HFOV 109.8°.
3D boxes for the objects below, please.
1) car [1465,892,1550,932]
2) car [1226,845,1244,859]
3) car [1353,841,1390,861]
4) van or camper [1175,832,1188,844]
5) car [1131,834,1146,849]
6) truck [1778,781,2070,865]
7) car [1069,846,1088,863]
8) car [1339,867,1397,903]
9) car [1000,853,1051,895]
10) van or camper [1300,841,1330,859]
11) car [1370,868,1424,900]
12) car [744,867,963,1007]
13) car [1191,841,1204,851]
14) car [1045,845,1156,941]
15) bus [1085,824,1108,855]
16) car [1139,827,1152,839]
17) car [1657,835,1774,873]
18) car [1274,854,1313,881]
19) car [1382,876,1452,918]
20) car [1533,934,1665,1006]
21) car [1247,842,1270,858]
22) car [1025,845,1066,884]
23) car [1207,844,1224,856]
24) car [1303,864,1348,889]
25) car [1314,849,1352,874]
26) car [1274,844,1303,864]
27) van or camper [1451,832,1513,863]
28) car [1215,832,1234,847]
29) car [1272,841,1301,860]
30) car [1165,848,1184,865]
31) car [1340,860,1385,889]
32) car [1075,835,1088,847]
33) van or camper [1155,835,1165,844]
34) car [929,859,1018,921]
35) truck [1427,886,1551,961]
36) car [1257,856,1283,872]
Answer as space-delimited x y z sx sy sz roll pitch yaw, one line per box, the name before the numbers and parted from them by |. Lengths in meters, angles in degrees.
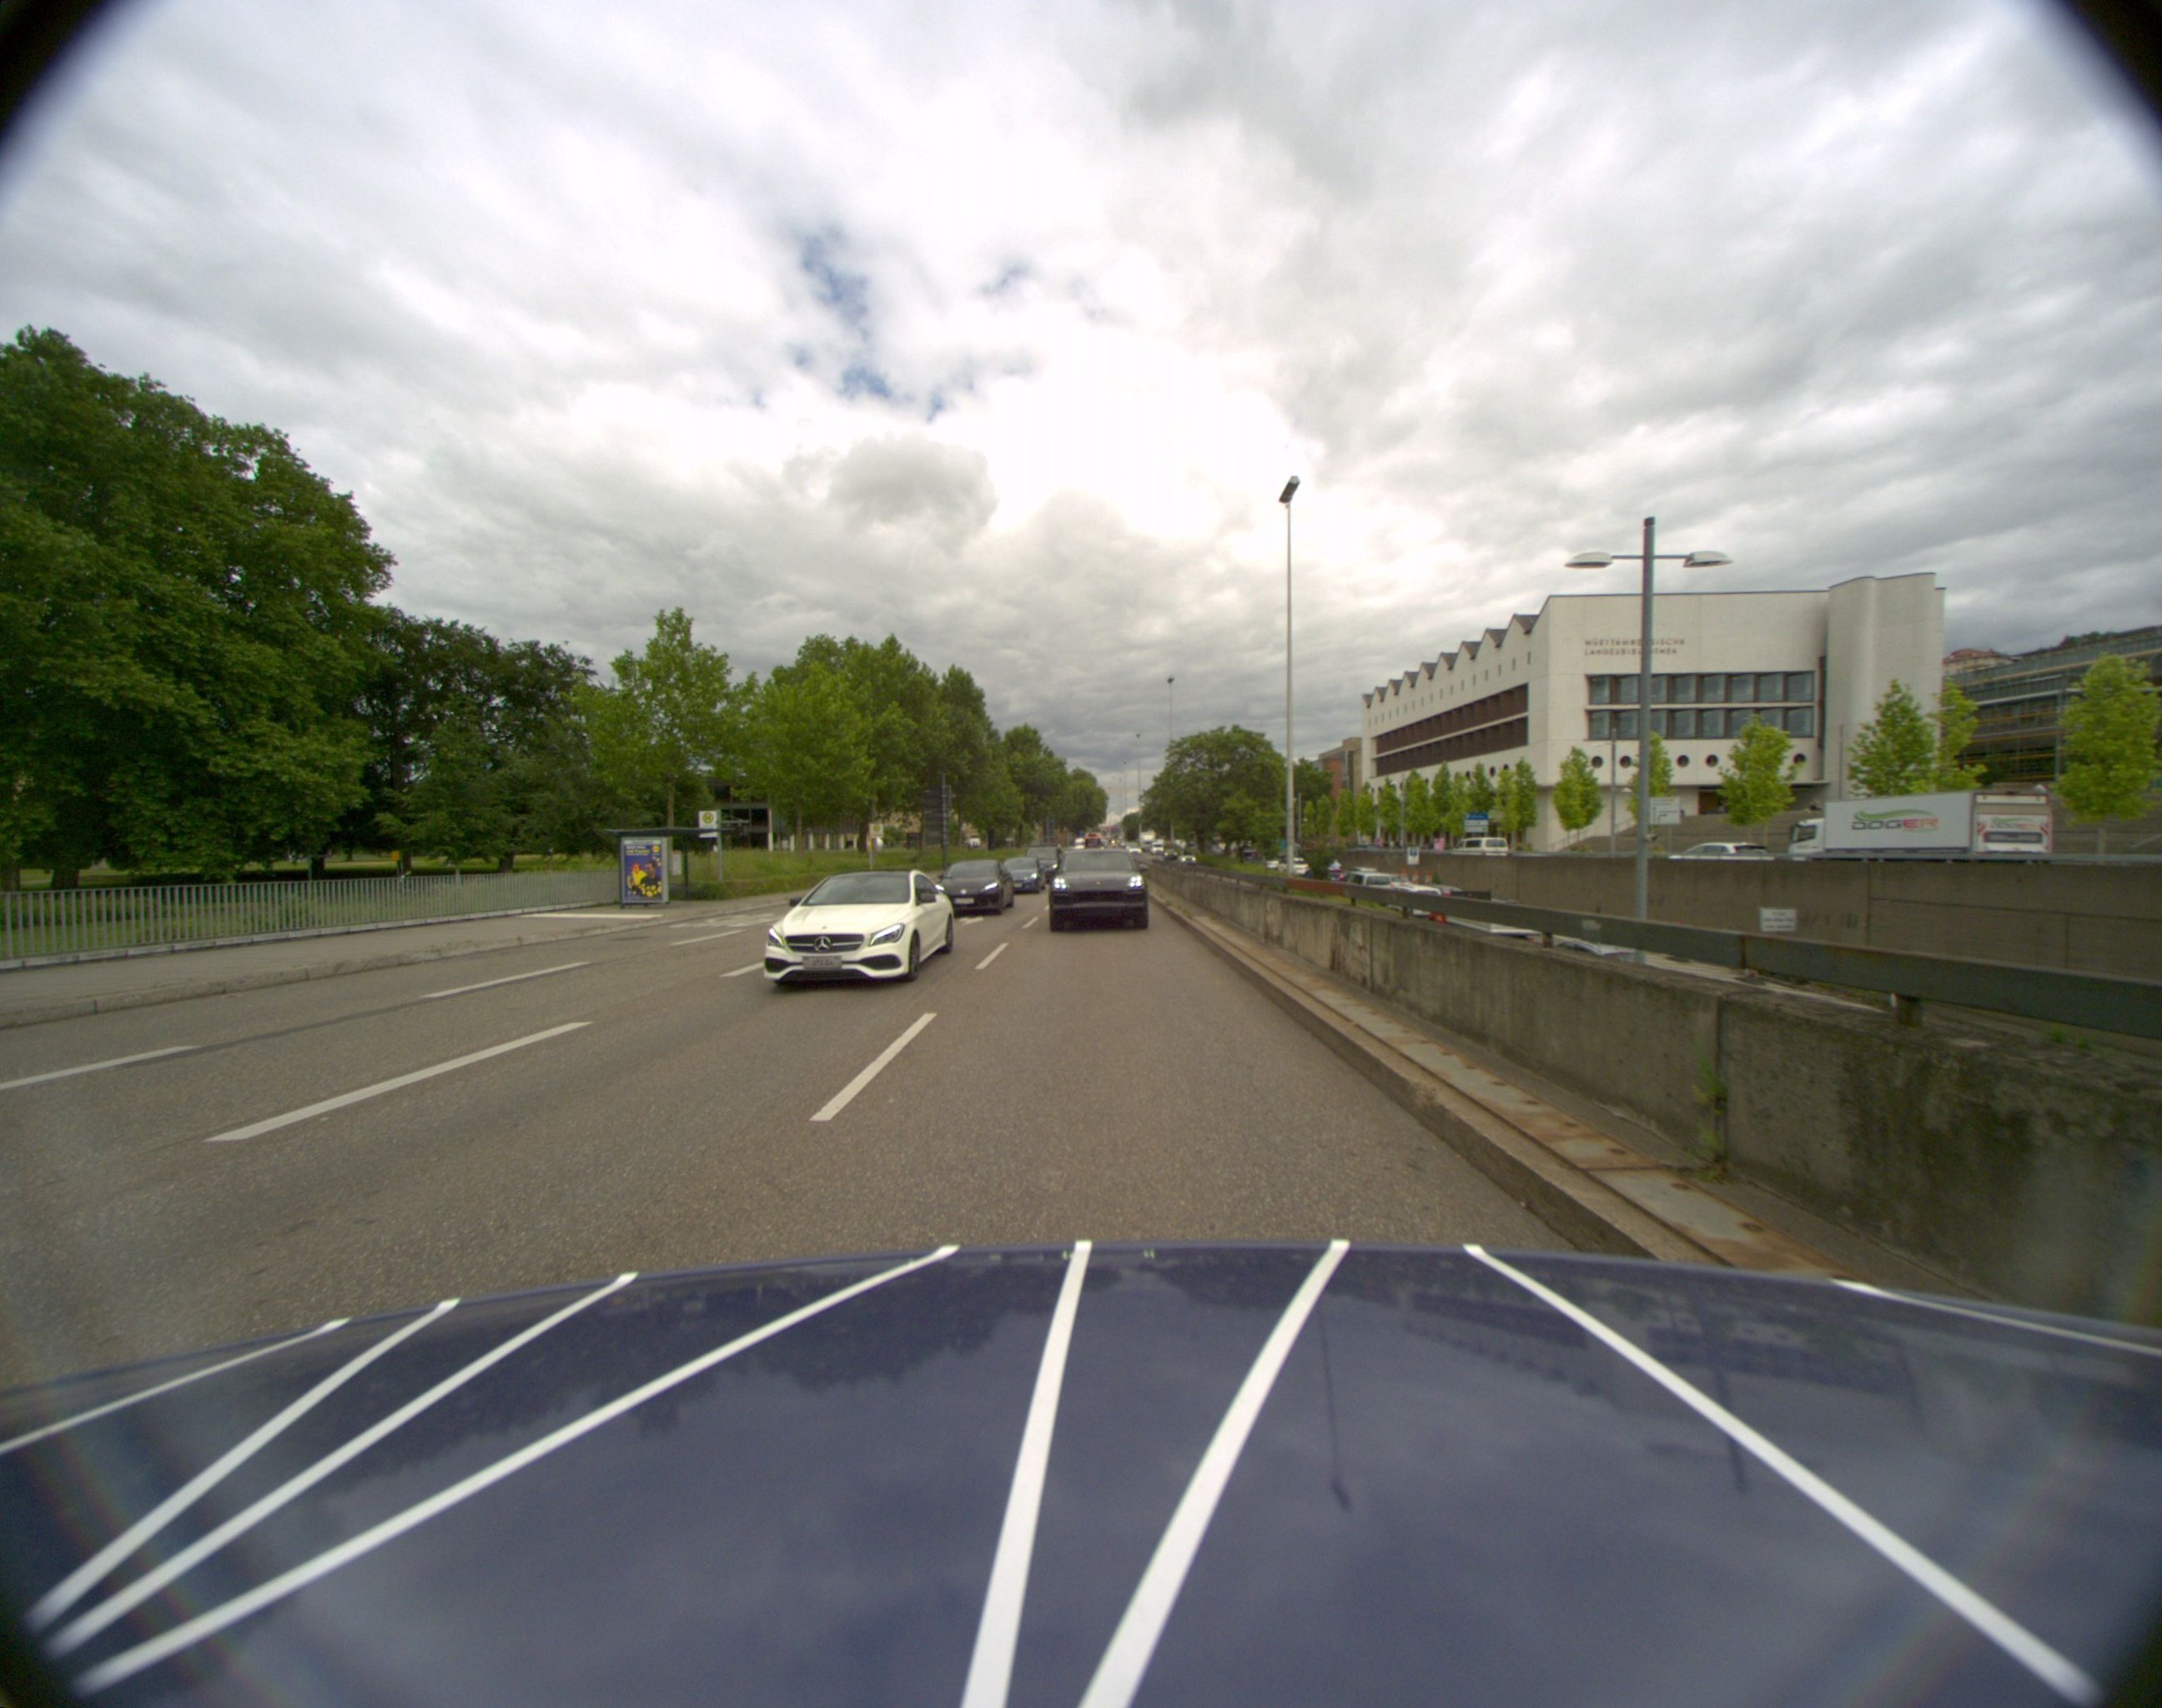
car | 21.084 2.832 37.754 1.998 1.543 4.000 -2 1 1
car | 23.739 -0.259 117.415 1.998 2.002 4.000 2 0 1
car | 27.820 -0.253 72.875 1.998 1.805 4.000 -1 0 1
van or camper | 18.410 -2.855 139.337 2.036 2.002 4.000 -2 0 1
car | 8.514 -1.827 112.972 1.998 2.002 4.000 -1 0 1
truck | 31.913 -1.028 29.400 3.239 2.771 7.253 -1 0 1
car | -0.226 0.034 69.250 1.565 1.409 3.620 -2 0 1
car | 17.917 1.901 47.616 1.998 2.002 4.333 2 0 1
car | -2.220 0.771 31.268 1.573 1.528 4.001 -2 1 2
van or camper | 27.067 -0.472 88.035 1.999 2.002 4.557 -1 0 -1
car | 21.679 2.042 52.296 1.998 2.002 4.000 2 0 1
car | -2.943 0.988 10.922 1.723 1.415 4.505 -2 1 0
car | 18.664 -1.326 121.836 1.674 1.477 3.362 -2 0 1
car | 0.400 0.709 15.996 1.937 1.668 4.680 -2 0 1
bus | 2.220 -2.089 112.012 3.043 4.327 8.748 -2 1 0
car | 11.339 -3.626 133.490 1.997 2.002 4.002 -2 1 10
car | 28.036 0.014 33.754 1.723 1.565 4.271 -1 0 2
car | 18.260 1.118 65.398 1.998 2.119 4.852 2 0 1
car | 17.961 2.251 40.861 1.998 2.002 4.000 2 0 1
car | 17.471 3.849 25.871 1.794 1.805 3.927 -2 0 0
car | 22.920 -0.507 98.291 1.998 2.002 4.000 2 0 1
car | -1.778 0.468 39.325 1.723 1.851 4.430 -2 1 1
car | 17.819 -0.515 101.013 1.674 1.477 3.362 -2 0 1
car | 18.092 1.636 56.505 1.998 1.733 4.282 2 0 1
car | 21.524 0.639 65.061 1.998 2.002 4.000 2 0 1
car | 22.033 -0.033 80.826 1.998 2.002 4.000 2 0 1
van or camper | 28.006 -0.426 53.287 1.998 2.002 4.557 -1 0 1
car | 21.090 -2.104 111.905 1.998 2.002 4.000 -2 1 1
car | 22.533 -0.356 83.413 1.998 2.002 4.655 -2 0 1
car | 11.868 0.279 96.708 1.998 2.002 3.999 0 2 1
car | 21.527 1.526 58.311 1.998 2.002 4.000 2 0 1
car | -0.007 -2.327 135.002 1.999 2.002 3.998 -2 1 -4
van or camper | 18.168 -3.325 174.571 2.036 2.002 4.000 -2 0 1
car | -2.947 0.944 21.725 1.829 1.515 4.120 -2 0 1
truck | 17.580 2.876 33.209 2.324 2.675 5.979 -2 0 2
car | 18.271 0.983 73.582 1.674 1.477 3.361 -1 1 1
